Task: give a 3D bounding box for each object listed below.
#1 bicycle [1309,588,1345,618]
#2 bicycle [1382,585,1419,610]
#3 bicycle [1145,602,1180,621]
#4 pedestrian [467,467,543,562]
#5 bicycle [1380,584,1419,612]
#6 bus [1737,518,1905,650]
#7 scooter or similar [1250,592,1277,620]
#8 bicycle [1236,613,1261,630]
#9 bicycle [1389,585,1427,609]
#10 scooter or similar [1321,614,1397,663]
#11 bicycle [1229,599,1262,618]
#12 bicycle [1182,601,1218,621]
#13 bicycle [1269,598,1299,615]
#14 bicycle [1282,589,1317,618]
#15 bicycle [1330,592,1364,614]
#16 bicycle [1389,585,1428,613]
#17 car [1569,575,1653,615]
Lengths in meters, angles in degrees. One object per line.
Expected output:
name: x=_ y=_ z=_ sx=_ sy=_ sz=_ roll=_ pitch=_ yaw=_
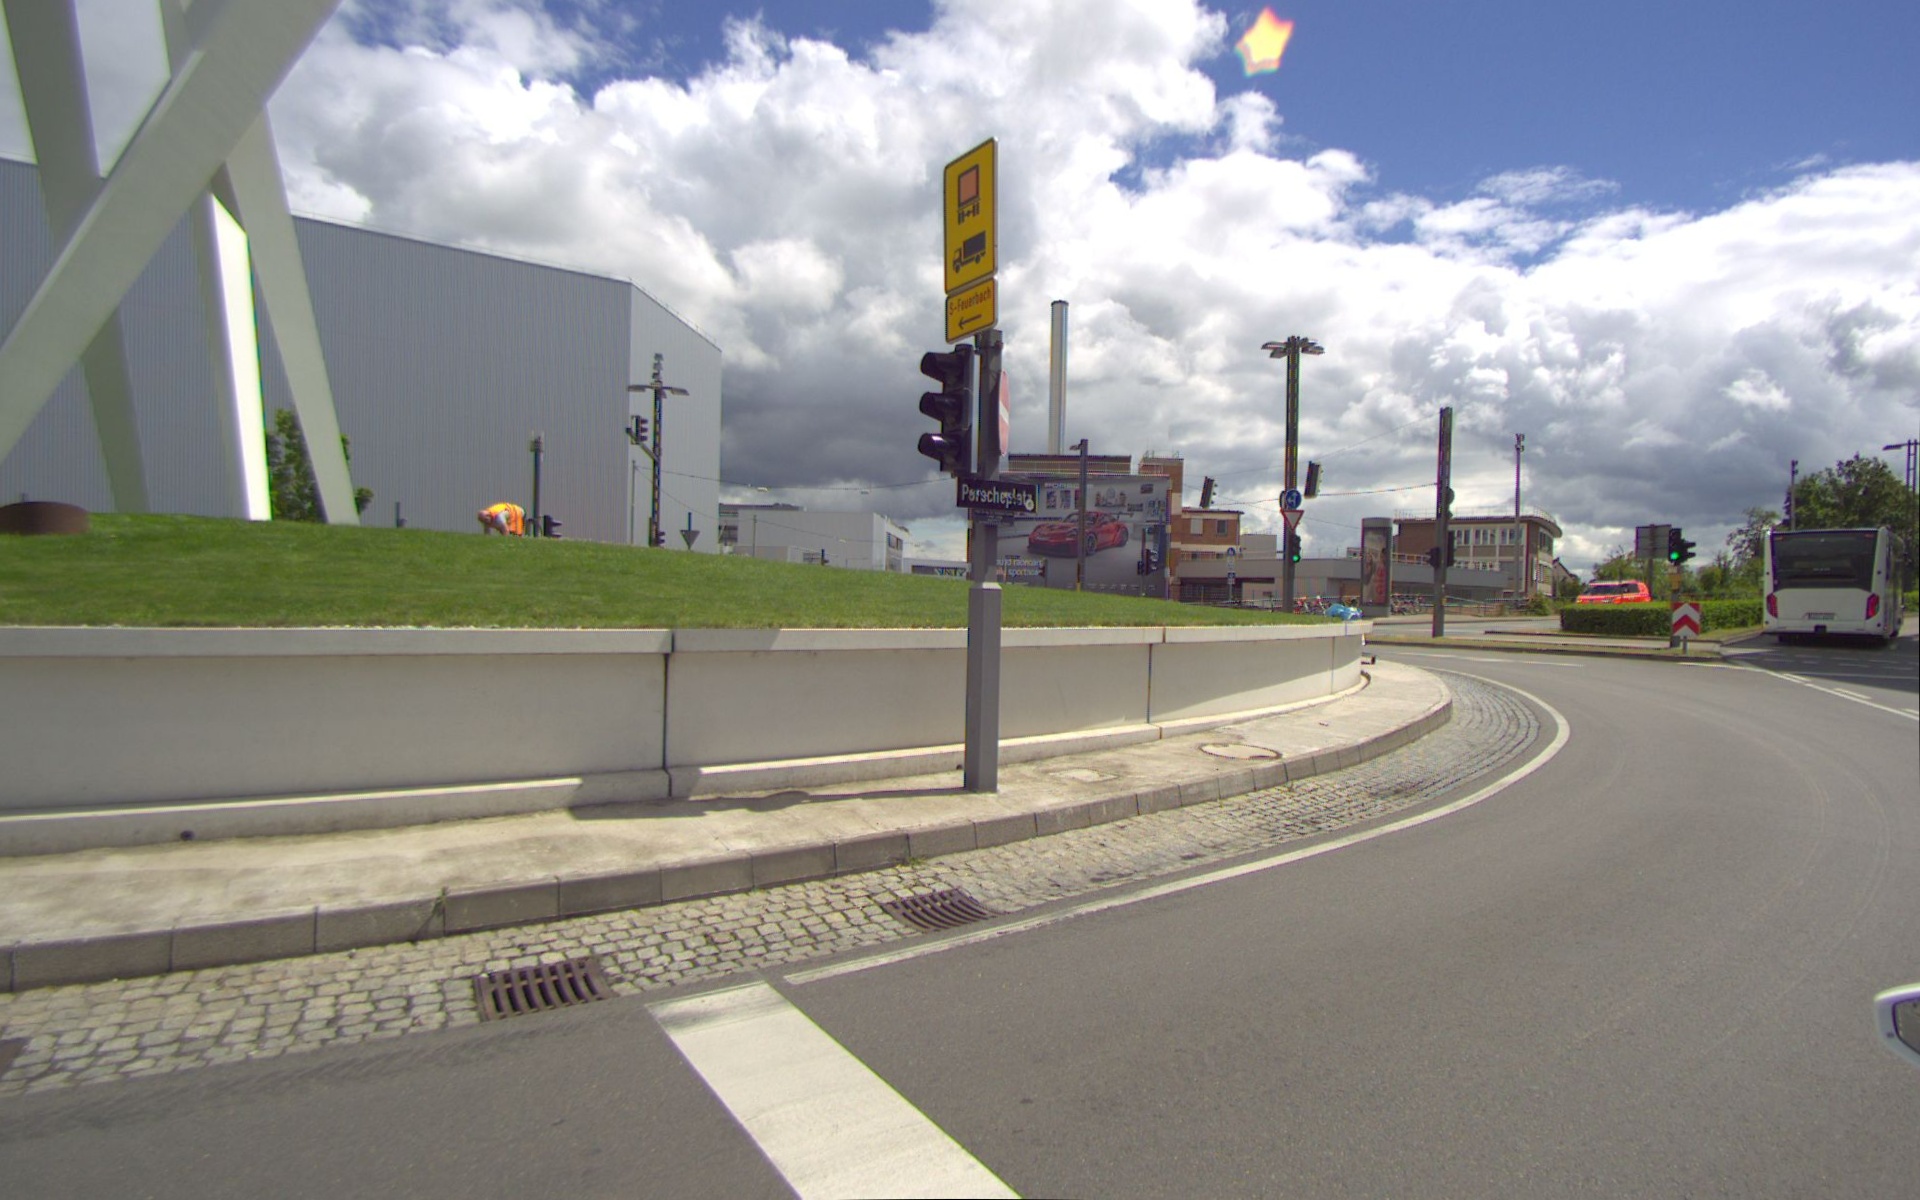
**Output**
bicycle: x=18.201 y=0.130 z=49.823 sx=0.488 sy=1.401 sz=1.595 roll=2 pitch=1 yaw=-35
bicycle: x=23.458 y=-0.140 z=53.528 sx=0.664 sy=1.198 sz=1.724 roll=-5 pitch=6 yaw=-37
bicycle: x=9.567 y=0.558 z=47.560 sx=1.578 sy=0.878 sz=0.493 roll=0 pitch=1 yaw=6
pedestrian: x=-7.797 y=-1.450 z=17.263 sx=0.948 sy=1.424 sz=0.854 roll=3 pitch=-5 yaw=-13
bicycle: x=23.039 y=-0.105 z=52.722 sx=0.663 sy=1.399 sz=1.725 roll=2 pitch=1 yaw=-35
bus: x=27.081 y=-0.712 z=31.283 sx=3.040 sy=3.408 sz=12.144 roll=4 pitch=5 yaw=44
scooter or similar: x=14.443 y=0.280 z=47.749 sx=1.377 sy=1.248 sz=0.489 roll=-2 pitch=4 yaw=-36
bicycle: x=15.087 y=1.126 z=52.447 sx=1.600 sy=0.878 sz=0.486 roll=2 pitch=1 yaw=-45
bicycle: x=24.081 y=-0.167 z=54.058 sx=0.663 sy=1.198 sz=1.725 roll=0 pitch=3 yaw=-36
scooter or similar: x=7.568 y=0.718 z=19.114 sx=0.891 sy=0.859 sz=1.261 roll=1 pitch=1 yaw=-3
bicycle: x=13.732 y=0.410 z=48.377 sx=1.589 sy=0.878 sz=0.490 roll=-1 pitch=1 yaw=-25
bicycle: x=11.381 y=0.538 z=47.625 sx=1.581 sy=0.878 sz=0.492 roll=-2 pitch=2 yaw=-7
bicycle: x=17.407 y=0.349 z=53.918 sx=1.589 sy=0.878 sz=0.490 roll=1 pitch=0 yaw=-25
bicycle: x=16.599 y=0.183 z=49.089 sx=0.488 sy=1.334 sz=1.595 roll=2 pitch=1 yaw=-35
bicycle: x=19.779 y=0.144 z=51.376 sx=0.488 sy=1.070 sz=1.595 roll=2 pitch=1 yaw=-35
bicycle: x=23.802 y=-0.080 z=53.299 sx=0.663 sy=1.399 sz=1.725 roll=2 pitch=1 yaw=-35
car: x=33.903 y=-0.269 z=52.270 sx=4.786 sy=2.010 sz=1.981 roll=0 pitch=1 yaw=-34
